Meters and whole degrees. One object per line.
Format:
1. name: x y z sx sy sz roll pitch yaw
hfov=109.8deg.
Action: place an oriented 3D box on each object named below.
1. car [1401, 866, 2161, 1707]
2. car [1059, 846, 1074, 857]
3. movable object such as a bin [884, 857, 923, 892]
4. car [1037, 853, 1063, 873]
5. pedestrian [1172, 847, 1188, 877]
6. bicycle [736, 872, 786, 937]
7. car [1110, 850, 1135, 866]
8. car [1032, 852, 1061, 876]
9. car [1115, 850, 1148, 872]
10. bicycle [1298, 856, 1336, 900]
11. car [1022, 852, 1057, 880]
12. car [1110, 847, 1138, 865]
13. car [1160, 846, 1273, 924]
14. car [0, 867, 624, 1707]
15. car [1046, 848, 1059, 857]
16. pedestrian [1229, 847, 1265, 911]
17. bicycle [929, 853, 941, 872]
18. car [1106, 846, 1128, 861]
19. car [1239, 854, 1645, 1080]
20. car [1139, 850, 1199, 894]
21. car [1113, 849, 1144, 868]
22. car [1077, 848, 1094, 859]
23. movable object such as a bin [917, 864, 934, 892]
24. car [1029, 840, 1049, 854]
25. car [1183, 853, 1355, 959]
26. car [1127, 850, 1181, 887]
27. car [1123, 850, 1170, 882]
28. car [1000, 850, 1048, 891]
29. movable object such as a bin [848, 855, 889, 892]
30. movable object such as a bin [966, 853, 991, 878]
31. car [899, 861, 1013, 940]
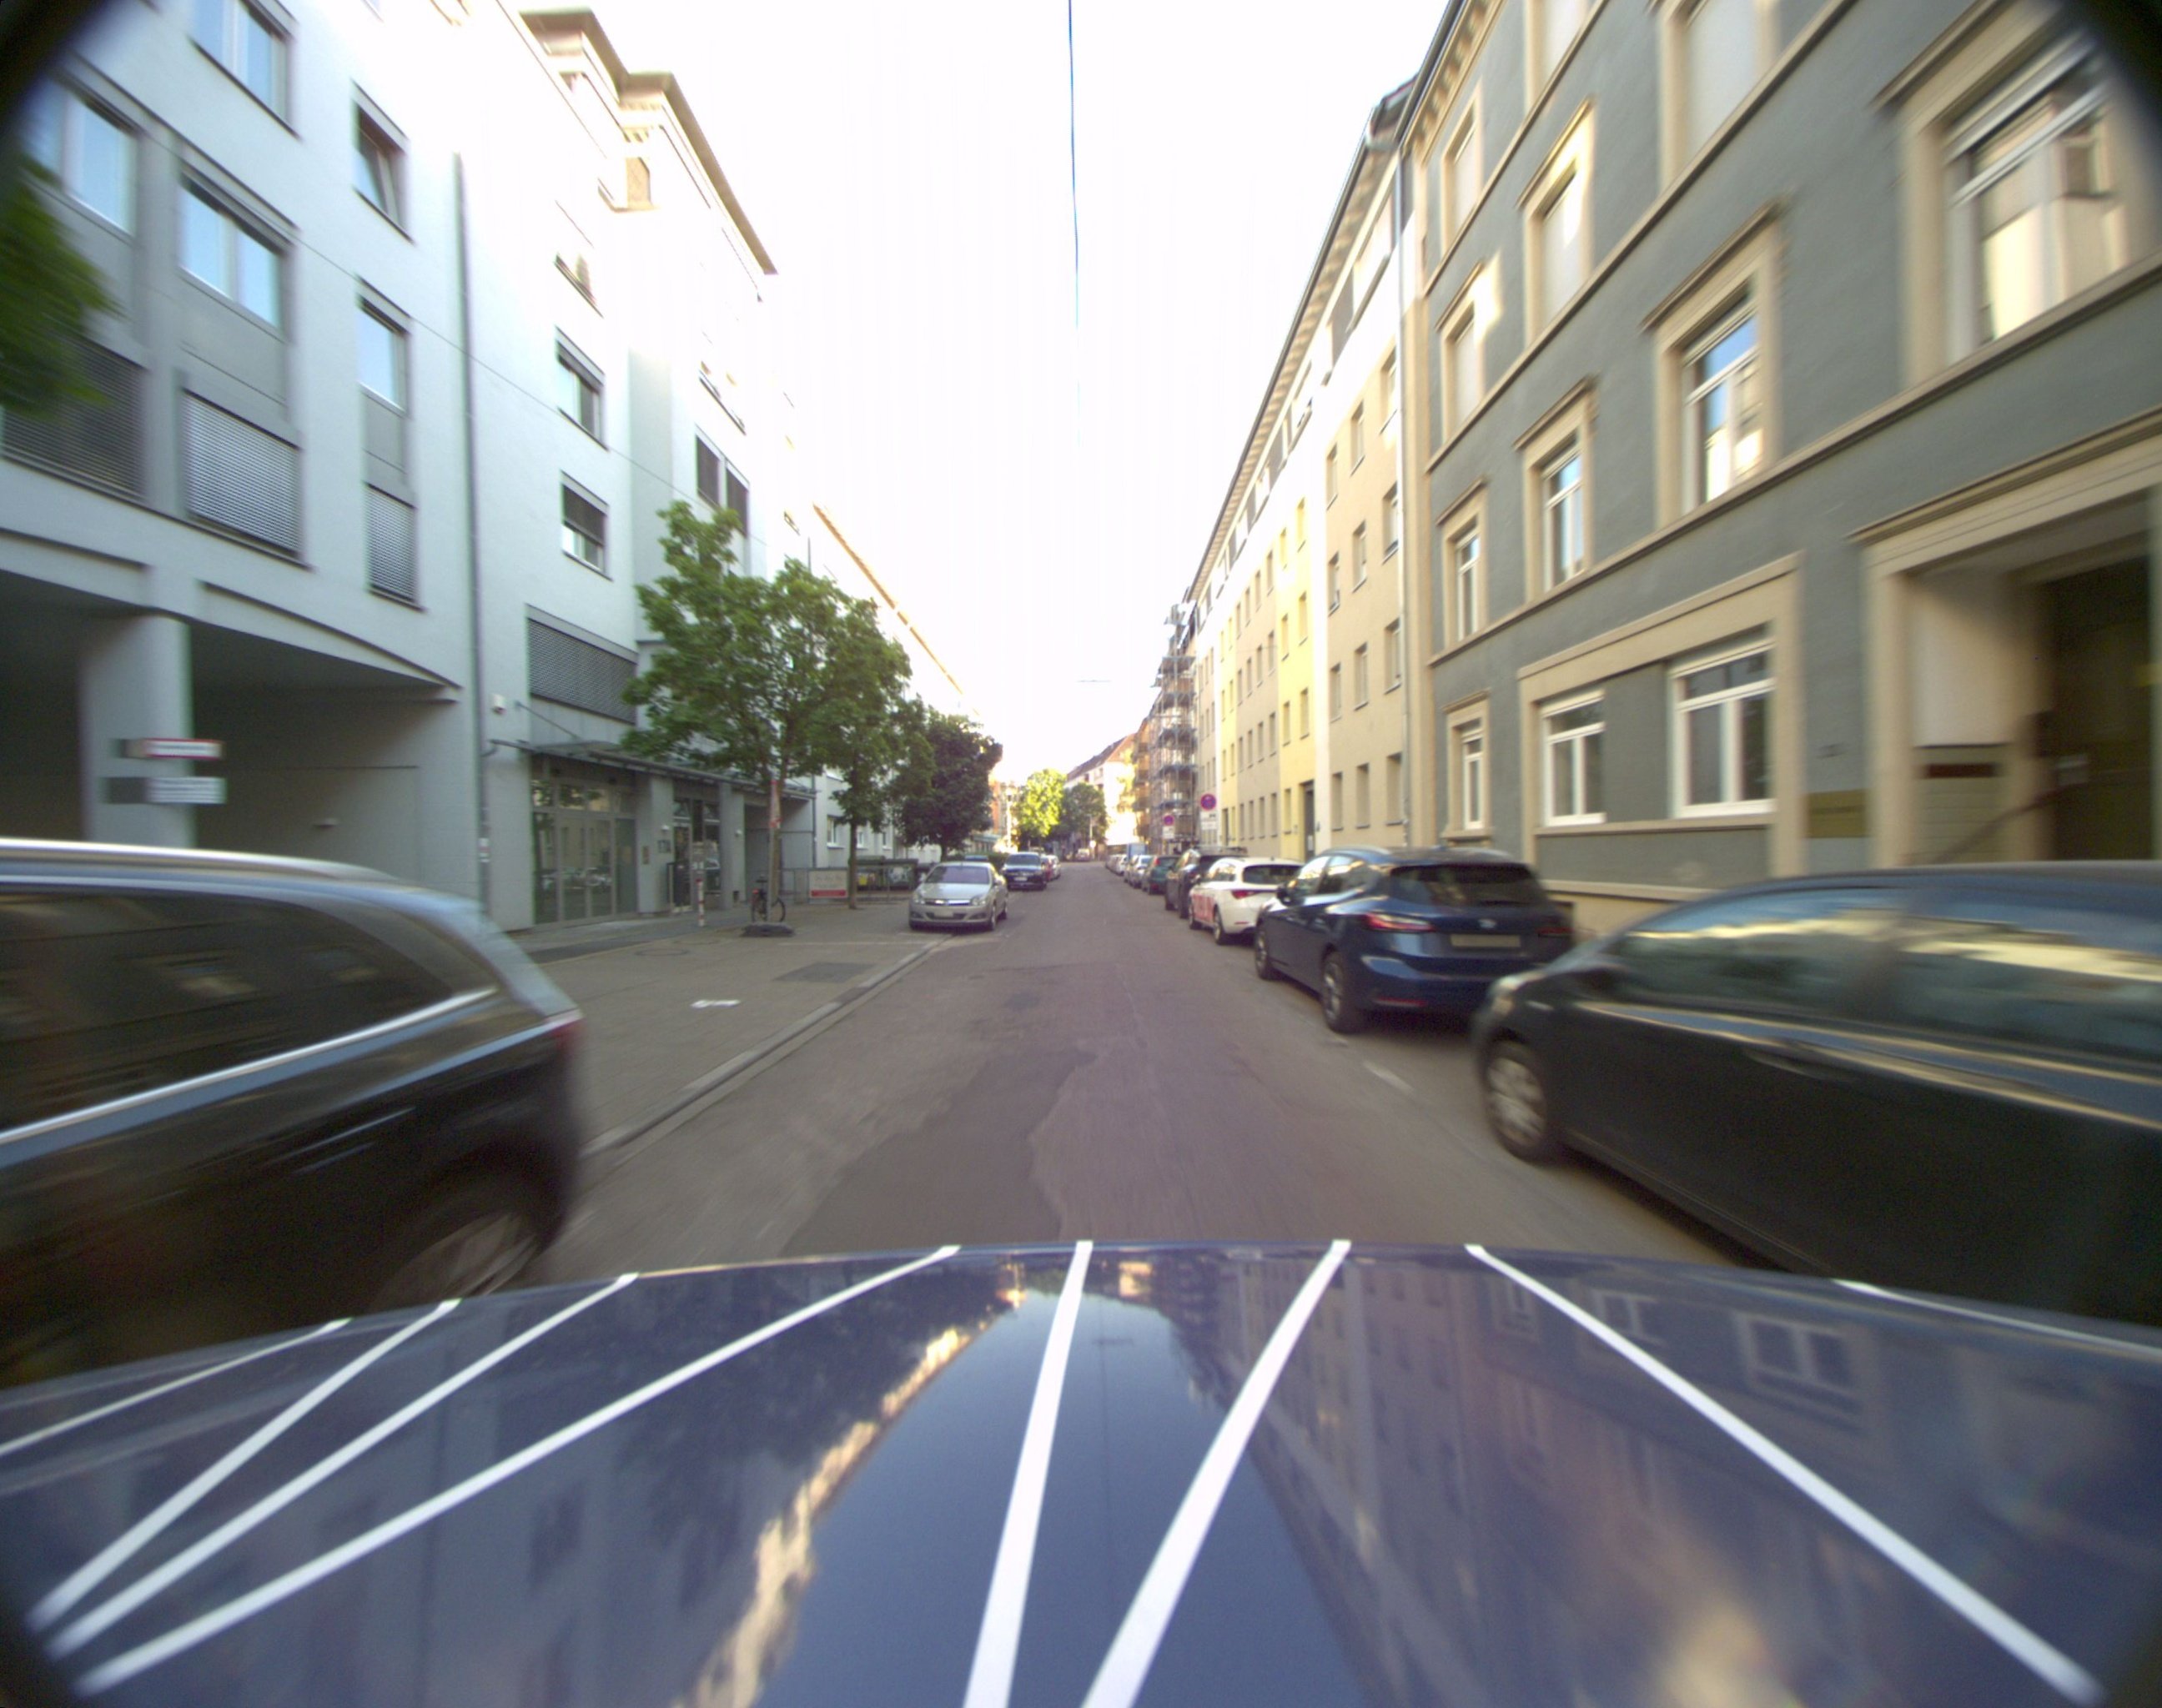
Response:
1. car: 2.997 0.871 2.668 1.906 1.551 4.240 1 0 -1
2. car: -2.505 -0.422 132.399 2.081 1.760 4.214 0 1 -8
3. movable object such as a bin: -6.970 0.789 29.932 1.264 1.313 1.139 0 1 0
4. car: -2.205 0.626 55.251 1.680 1.411 4.135 0 1 0
5. pedestrian: 5.780 0.458 44.581 0.791 1.750 1.092 0 1 0
6. bicycle: -6.348 0.966 15.142 0.521 1.162 1.738 0 1 -10
7. car: 3.724 0.355 69.068 1.999 1.423 3.999 0 1 -1
8. car: -2.187 0.621 49.060 1.680 1.411 4.135 0 1 0
9. car: 3.521 0.462 53.504 1.999 1.496 3.999 0 1 -1
10. bicycle: 6.174 0.609 19.954 0.451 1.068 1.751 -2 1 1
11. car: -2.376 0.670 44.118 1.680 1.474 3.652 0 1 3
12. car: 3.569 0.173 63.641 1.999 1.423 3.999 0 1 -1
13. car: 3.148 0.664 18.572 1.925 1.654 4.468 1 0 -1
14. car: -2.576 0.885 0.448 1.890 1.613 4.433 0 1 0
15. car: -4.916 -0.262 130.567 1.830 1.496 3.996 0 1 -10
16. pedestrian: 4.714 0.685 21.680 0.791 1.780 1.092 0 1 0
17. bicycle: -8.490 0.469 44.220 0.602 1.085 1.738 0 1 -10
18. car: 3.728 -0.075 79.638 1.999 1.462 3.999 0 1 -1
19. car: 2.987 0.800 7.487 1.925 1.551 4.266 1 0 -1
20. car: 3.261 0.619 28.831 1.783 1.480 4.420 0 1 0
21. car: 3.618 0.322 58.329 1.999 1.440 3.999 0 1 -1
22. car: 0.655 -0.097 116.388 2.081 1.760 4.215 0 1 -6
23. movable object such as a bin: -6.064 0.916 29.590 0.529 1.065 0.625 0 1 0
24. car: -6.950 -1.115 125.163 2.163 2.270 6.200 0 1 -13
25. car: 3.076 0.767 13.389 1.925 1.551 4.266 1 0 -1
26. car: 3.148 0.582 33.598 1.927 1.480 4.616 0 1 0
27. car: 3.275 0.574 39.056 1.927 1.480 4.616 0 1 -1
28. car: -2.429 0.676 33.507 1.876 1.626 4.721 0 1 -1
29. movable object such as a bin: -8.279 0.748 29.689 1.264 1.428 1.139 0 1 0
30. movable object such as a bin: -5.981 0.636 44.366 1.287 1.428 1.223 0 1 0
31. car: -2.606 0.919 16.829 1.768 1.421 4.344 0 1 0
